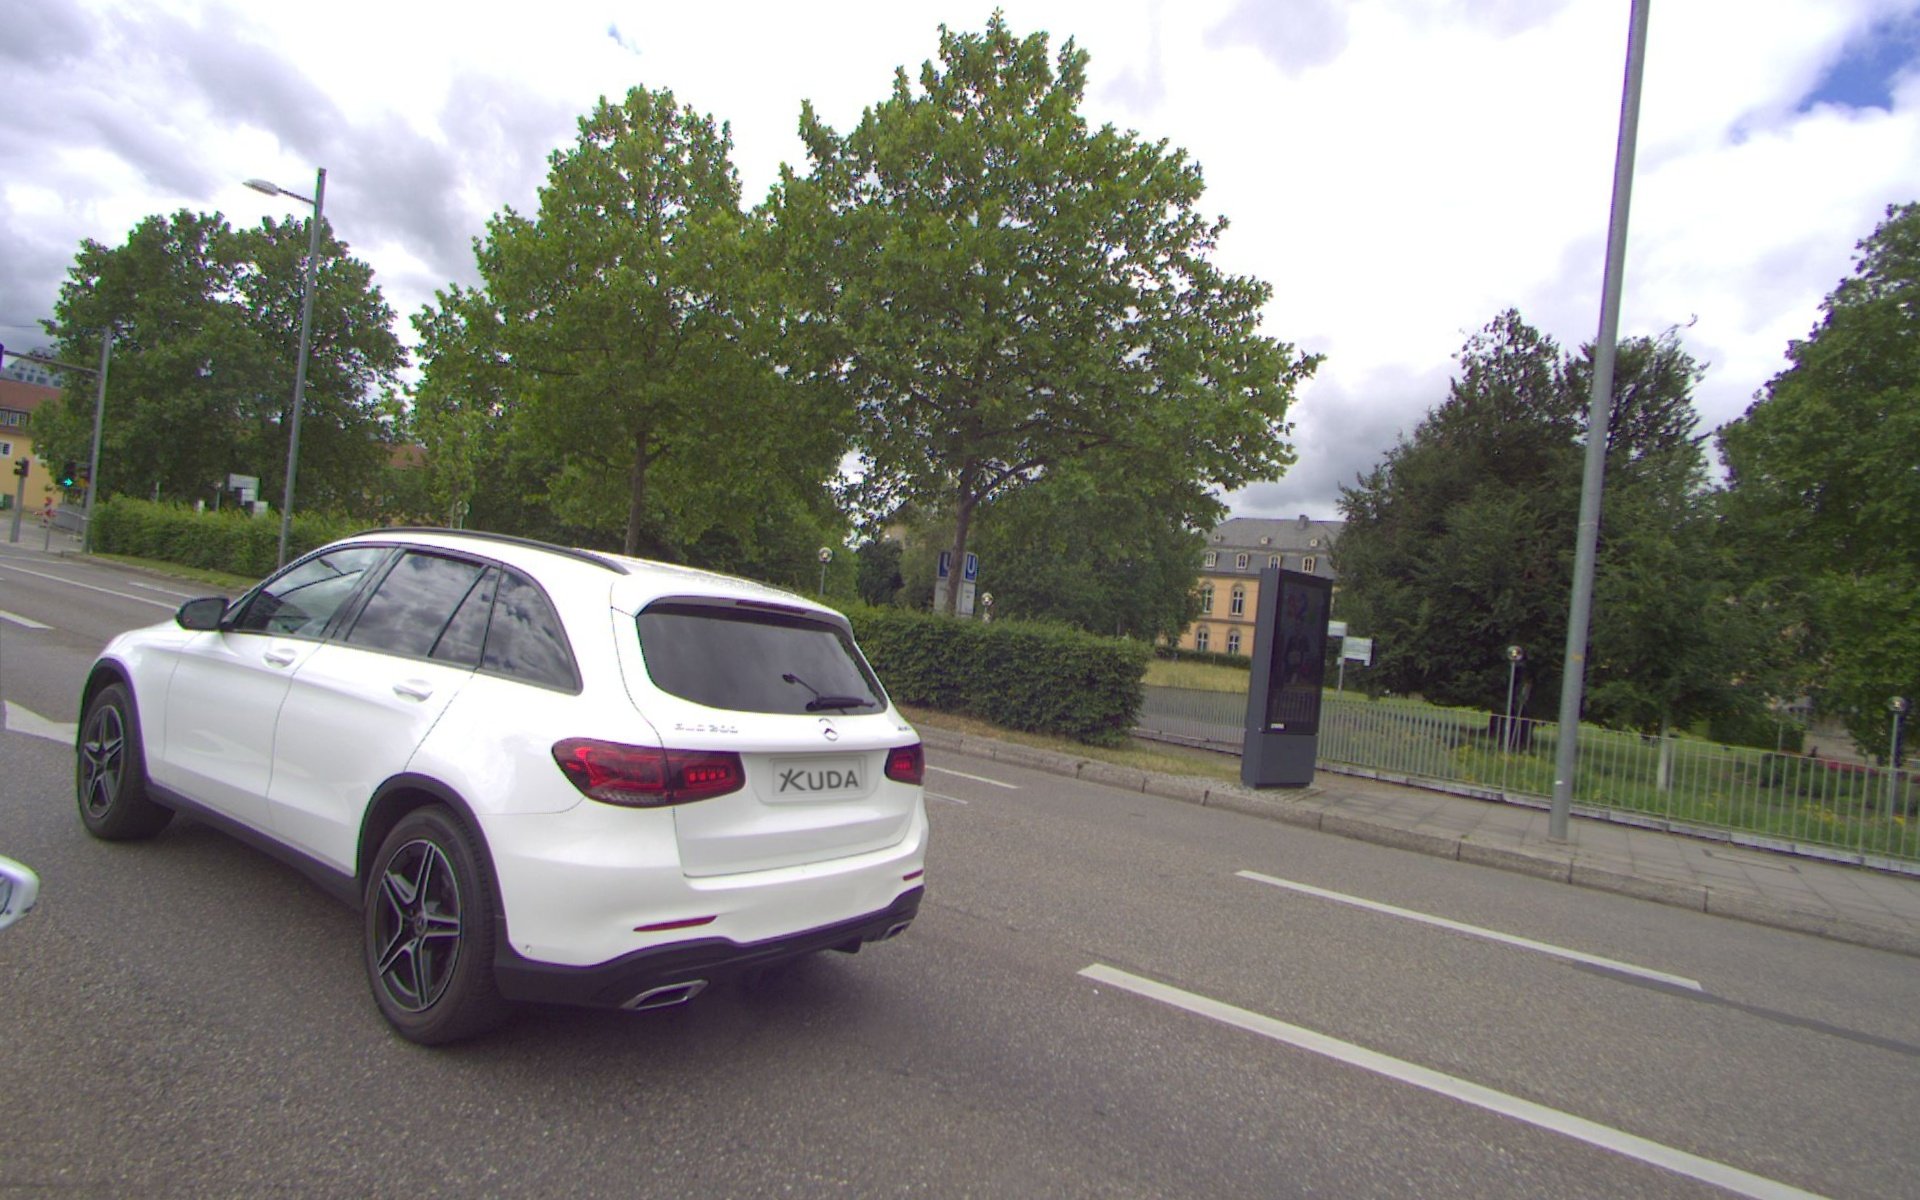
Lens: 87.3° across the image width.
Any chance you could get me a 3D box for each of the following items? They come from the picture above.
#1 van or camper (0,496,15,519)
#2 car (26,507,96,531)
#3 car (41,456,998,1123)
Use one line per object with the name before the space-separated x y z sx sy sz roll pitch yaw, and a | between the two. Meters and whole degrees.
van or camper | -93.560 -9.202 94.885 5.945 2.037 2.010 8 -2 -22
car | -87.278 -7.843 97.725 4.637 1.437 1.587 8 -2 -26
car | -2.215 0.415 4.591 4.308 1.666 1.822 7 -1 34
